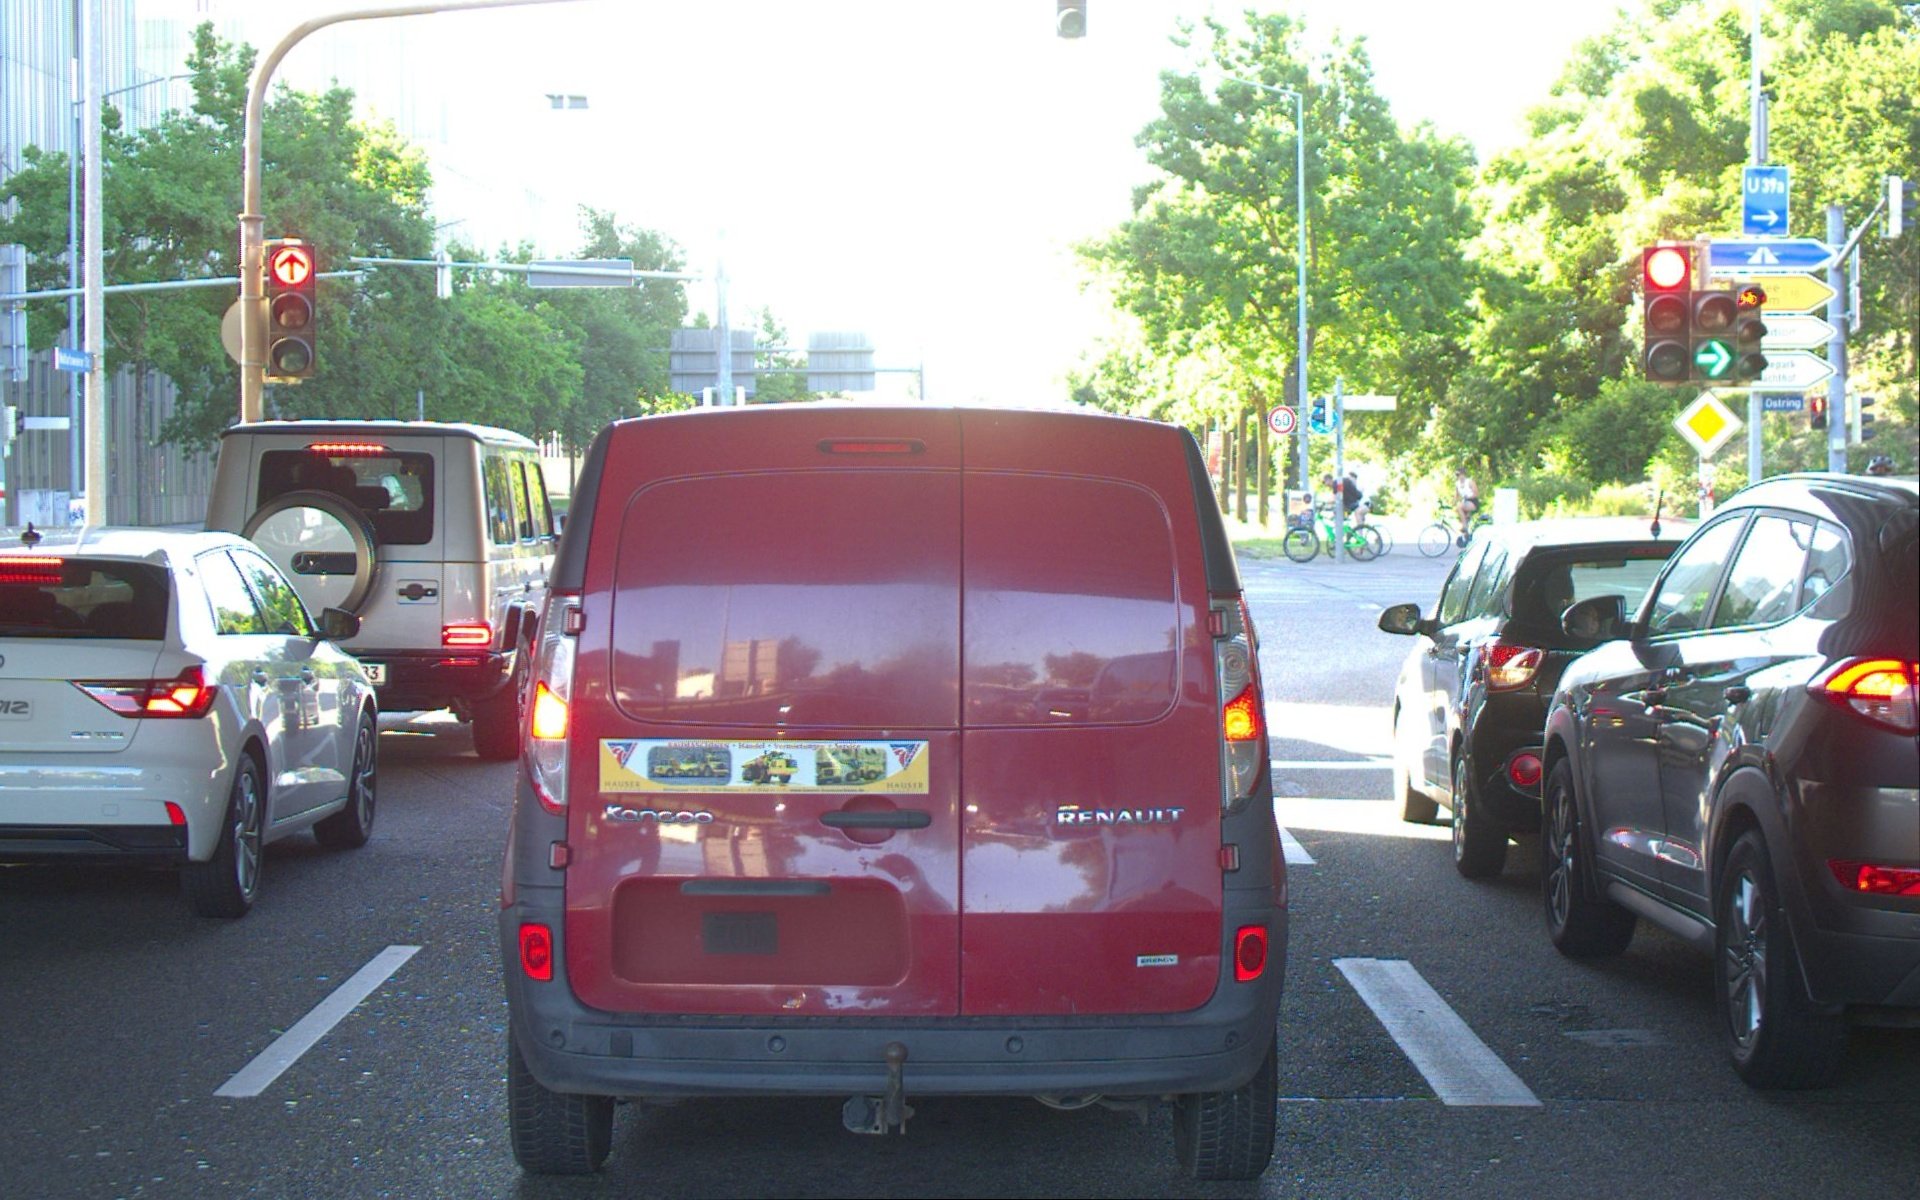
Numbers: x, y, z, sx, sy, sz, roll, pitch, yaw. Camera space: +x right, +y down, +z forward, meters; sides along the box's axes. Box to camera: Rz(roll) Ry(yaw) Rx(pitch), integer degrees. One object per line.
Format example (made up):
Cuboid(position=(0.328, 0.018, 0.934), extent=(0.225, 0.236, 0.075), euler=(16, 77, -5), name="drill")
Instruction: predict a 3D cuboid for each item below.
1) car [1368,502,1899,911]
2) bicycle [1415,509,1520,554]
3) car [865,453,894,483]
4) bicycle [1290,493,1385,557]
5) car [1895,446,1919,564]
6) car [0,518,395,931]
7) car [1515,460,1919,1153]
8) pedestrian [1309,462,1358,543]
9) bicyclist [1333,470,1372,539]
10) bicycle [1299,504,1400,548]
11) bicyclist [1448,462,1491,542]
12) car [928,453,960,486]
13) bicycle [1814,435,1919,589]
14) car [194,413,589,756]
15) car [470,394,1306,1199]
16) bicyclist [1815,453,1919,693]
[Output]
Cuboid(position=(2.887, 0.367, 15.509), extent=(1.652, 1.546, 3.864), euler=(1, 2, 1), name="car")
Cuboid(position=(9.827, -1.332, 66.621), extent=(1.953, 0.871, 0.699), euler=(0, 1, 3), name="bicycle")
Cuboid(position=(-5.798, -9.503, 247.816), extent=(1.993, 2.007, 4.000), euler=(1, 1, 0), name="car")
Cuboid(position=(7.245, -1.441, 65.961), extent=(1.729, 1.229, 0.558), euler=(0, 1, -6), name="bicycle")
Cuboid(position=(15.300, -1.259, 47.112), extent=(4.346, 1.602, 2.000), euler=(1, 1, -3), name="car")
Cuboid(position=(-3.415, 0.384, 13.761), extent=(1.692, 1.405, 3.813), euler=(1, 1, -1), name="car")
Cuboid(position=(2.919, 0.457, 10.205), extent=(1.778, 1.650, 3.991), euler=(1, 1, -1), name="car")
Cuboid(position=(7.160, -1.871, 65.950), extent=(0.836, 1.549, 0.557), euler=(0, 1, -6), name="pedestrian")
Cuboid(position=(7.753, -1.885, 67.950), extent=(0.652, 1.325, 0.603), euler=(1, 1, -3), name="bicyclist")
Cuboid(position=(7.700, -1.462, 67.945), extent=(1.913, 0.864, 0.605), euler=(0, 1, -3), name="bicycle")
Cuboid(position=(9.863, -1.903, 66.610), extent=(0.755, 1.537, 0.696), euler=(0, 1, 4), name="bicyclist")
Cuboid(position=(-1.048, -8.451, 222.962), extent=(1.993, 2.007, 4.000), euler=(1, 1, 0), name="car")
Cuboid(position=(6.308, -0.595, 23.780), extent=(0.677, 1.020, 1.528), euler=(1, 1, 11), name="bicycle")
Cuboid(position=(-3.394, -0.128, 21.178), extent=(1.813, 1.897, 3.813), euler=(1, 1, -1), name="car")
Cuboid(position=(-0.146, 0.419, 9.158), extent=(1.719, 1.758, 4.000), euler=(1, 1, 0), name="car")
Cuboid(position=(6.293, -0.187, 23.748), extent=(0.677, 1.623, 0.643), euler=(1, 1, 11), name="bicyclist")
